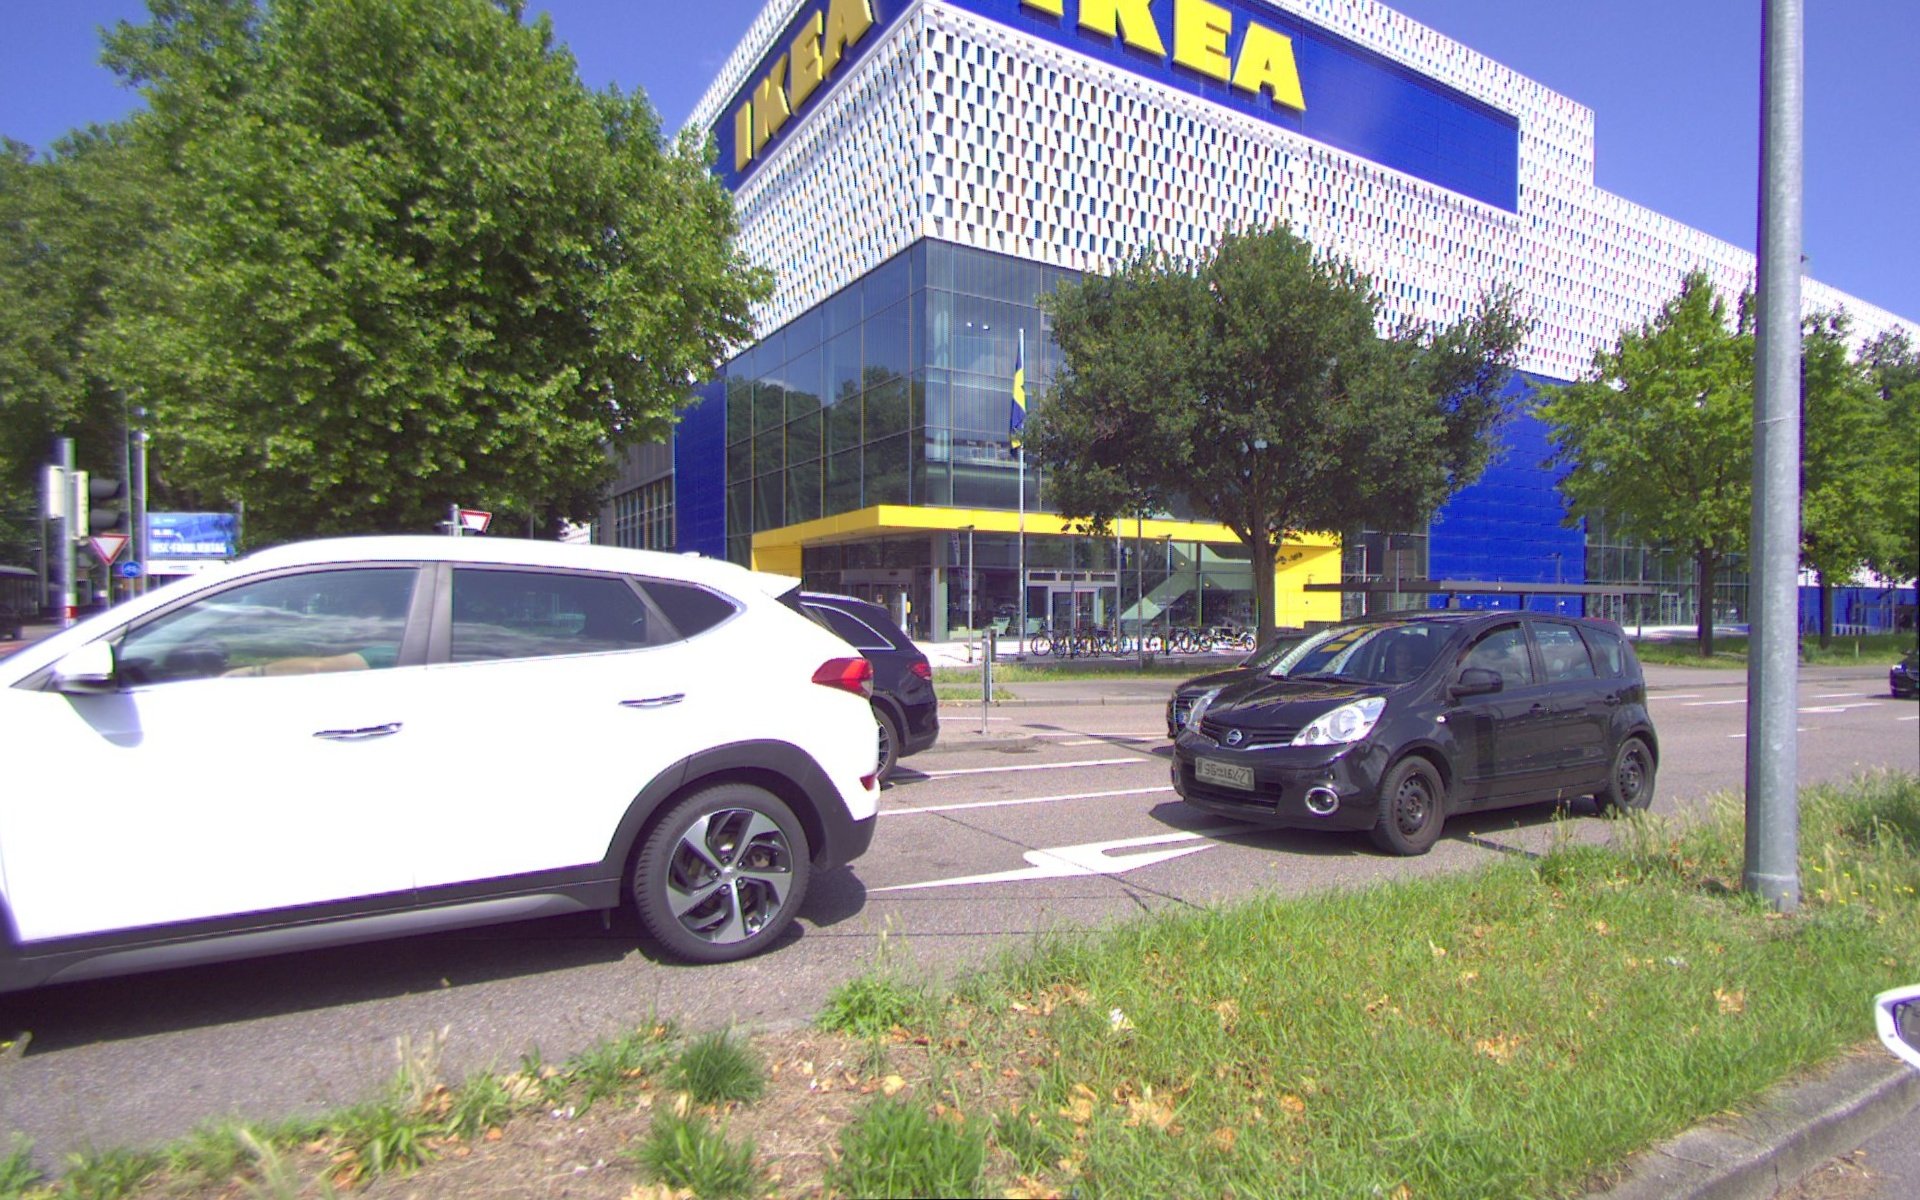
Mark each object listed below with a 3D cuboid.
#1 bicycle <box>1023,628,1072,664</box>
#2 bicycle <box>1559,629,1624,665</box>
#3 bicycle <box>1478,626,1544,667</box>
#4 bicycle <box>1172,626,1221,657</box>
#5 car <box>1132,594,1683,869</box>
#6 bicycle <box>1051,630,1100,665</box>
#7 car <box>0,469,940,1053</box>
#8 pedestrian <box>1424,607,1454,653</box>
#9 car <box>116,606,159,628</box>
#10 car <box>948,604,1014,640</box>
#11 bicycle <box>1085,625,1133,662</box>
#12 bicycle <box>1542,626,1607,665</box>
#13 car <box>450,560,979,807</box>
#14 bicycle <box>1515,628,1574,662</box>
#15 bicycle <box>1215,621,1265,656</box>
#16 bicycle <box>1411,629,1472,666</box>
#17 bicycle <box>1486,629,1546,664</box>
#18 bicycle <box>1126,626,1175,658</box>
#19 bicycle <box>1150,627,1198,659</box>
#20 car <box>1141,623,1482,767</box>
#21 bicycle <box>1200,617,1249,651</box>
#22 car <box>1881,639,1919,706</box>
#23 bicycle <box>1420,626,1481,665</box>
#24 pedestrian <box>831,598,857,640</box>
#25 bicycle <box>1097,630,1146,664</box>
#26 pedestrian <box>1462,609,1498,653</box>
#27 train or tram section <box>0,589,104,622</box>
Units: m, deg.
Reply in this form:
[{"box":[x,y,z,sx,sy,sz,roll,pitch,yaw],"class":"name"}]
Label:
[{"box":[2.912,1.518,33.532,0.523,1.084,1.922,2,0,-33],"class":"bicycle"},{"box":[22.903,1.675,36.460,0.622,1.199,1.916,0,1,-29],"class":"bicycle"},{"box":[18.693,1.564,34.109,0.622,1.290,1.916,0,1,-29],"class":"bicycle"},{"box":[8.803,1.537,37.485,0.523,1.084,1.922,2,0,-33],"class":"bicycle"},{"box":[3.340,0.808,7.282,4.084,1.513,1.596,2,-2,-31],"class":"car"},{"box":[3.943,1.606,34.367,0.523,1.084,1.922,3,-1,-33],"class":"bicycle"},{"box":[-2.378,0.508,4.025,4.328,1.641,1.700,3,-3,-31],"class":"car"},{"box":[19.909,1.249,41.750,0.876,1.847,0.750,1,1,-30],"class":"pedestrian"},{"box":[-61.074,1.260,74.614,1.979,1.617,3.964,1,-1,-33],"class":"car"},{"box":[1.208,1.318,59.943,1.979,2.040,4.163,1,-1,-34],"class":"car"},{"box":[5.150,1.487,34.900,0.463,1.188,1.944,0,1,-33],"class":"bicycle"},{"box":[21.925,1.615,35.877,0.622,1.290,1.916,0,1,-29],"class":"bicycle"},{"box":[-1.989,0.672,8.431,3.954,1.636,1.762,3,-3,-31],"class":"car"},{"box":[22.597,1.741,38.894,0.622,1.200,1.916,0,1,-29],"class":"bicycle"},{"box":[10.793,1.481,38.808,0.591,1.260,1.933,1,0,-33],"class":"bicycle"},{"box":[16.851,1.652,35.226,0.622,1.199,1.916,0,1,-29],"class":"bicycle"},{"box":[20.862,1.719,37.745,0.622,1.195,1.916,0,1,-29],"class":"bicycle"},{"box":[6.844,1.495,36.201,0.523,1.084,1.922,2,0,-33],"class":"bicycle"},{"box":[7.848,1.563,36.884,0.515,1.104,1.918,0,1,-33],"class":"bicycle"},{"box":[4.100,1.020,11.520,4.048,1.410,1.405,2,-3,-30],"class":"car"},{"box":[10.053,1.281,38.257,0.523,1.225,1.922,2,0,-33],"class":"bicycle"},{"box":[22.724,1.632,22.644,4.466,1.440,1.656,2,-3,-31],"class":"car"},{"box":[17.507,1.595,35.896,0.622,1.290,1.916,0,1,-29],"class":"bicycle"},{"box":[-4.816,0.793,41.717,0.703,1.729,0.890,2,0,-35],"class":"pedestrian"},{"box":[5.646,1.647,35.216,0.523,1.084,1.922,2,0,-33],"class":"bicycle"},{"box":[20.868,1.244,40.309,0.876,1.725,0.946,1,1,-29],"class":"pedestrian"},{"box":[-94.997,0.772,104.626,4.478,3.072,24.926,1,-1,-30],"class":"train or tram section"}]
